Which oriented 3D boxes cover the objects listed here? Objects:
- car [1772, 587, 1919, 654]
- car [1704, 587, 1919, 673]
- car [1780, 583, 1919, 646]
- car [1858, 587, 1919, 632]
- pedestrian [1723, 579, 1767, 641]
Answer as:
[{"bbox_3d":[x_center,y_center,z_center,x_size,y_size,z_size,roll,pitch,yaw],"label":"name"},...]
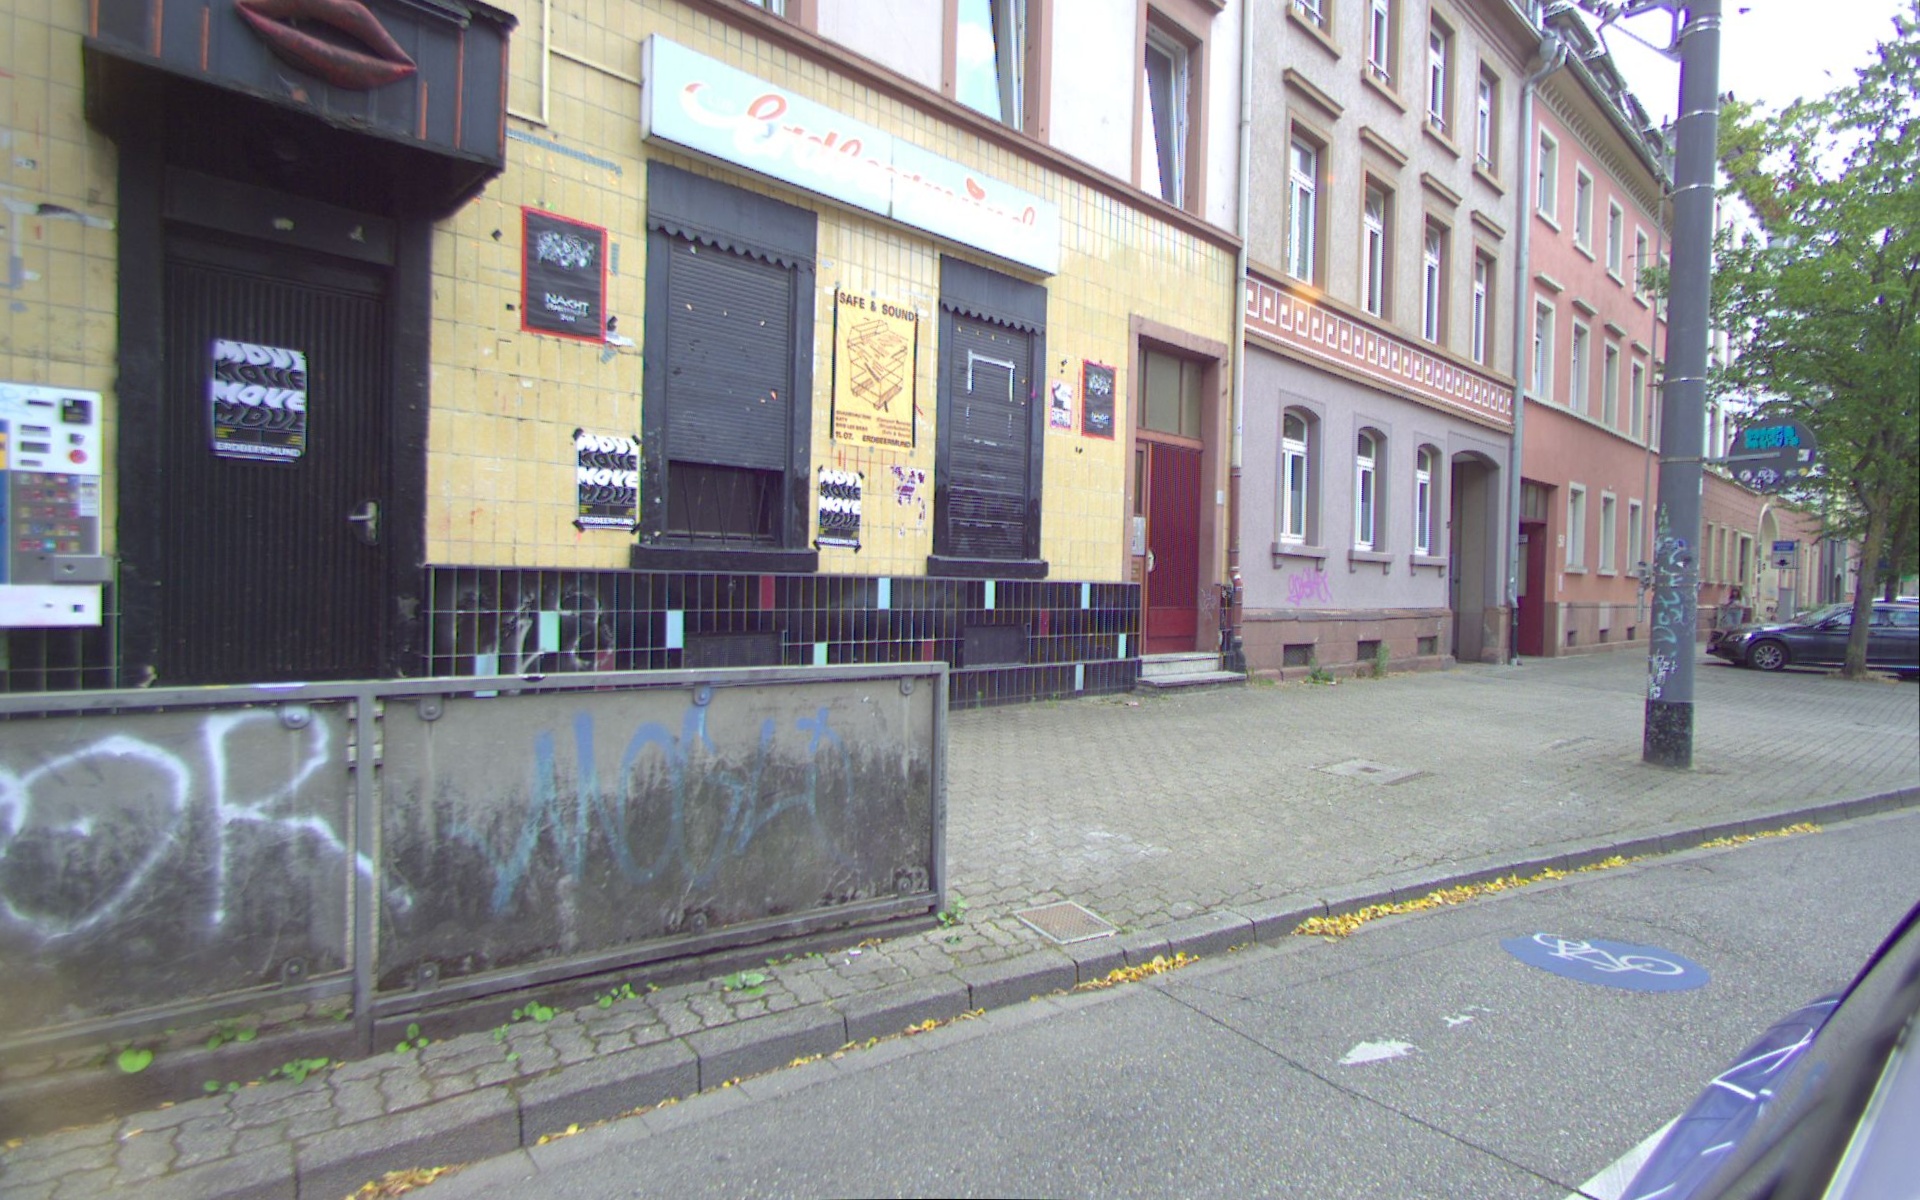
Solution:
[{"bbox_3d":[23.148,0.532,25.083,4.301,1.498,1.774,3,2,25],"label":"car"},{"bbox_3d":[18.037,0.592,20.364,4.581,1.491,1.774,3,2,25],"label":"car"},{"bbox_3d":[27.699,0.437,30.550,4.196,1.719,1.725,3,2,25],"label":"car"},{"bbox_3d":[39.215,0.435,40.393,4.581,1.719,1.901,3,2,25],"label":"car"},{"bbox_3d":[22.941,0.280,29.584,0.910,1.708,0.732,1,4,-42],"label":"pedestrian"}]
